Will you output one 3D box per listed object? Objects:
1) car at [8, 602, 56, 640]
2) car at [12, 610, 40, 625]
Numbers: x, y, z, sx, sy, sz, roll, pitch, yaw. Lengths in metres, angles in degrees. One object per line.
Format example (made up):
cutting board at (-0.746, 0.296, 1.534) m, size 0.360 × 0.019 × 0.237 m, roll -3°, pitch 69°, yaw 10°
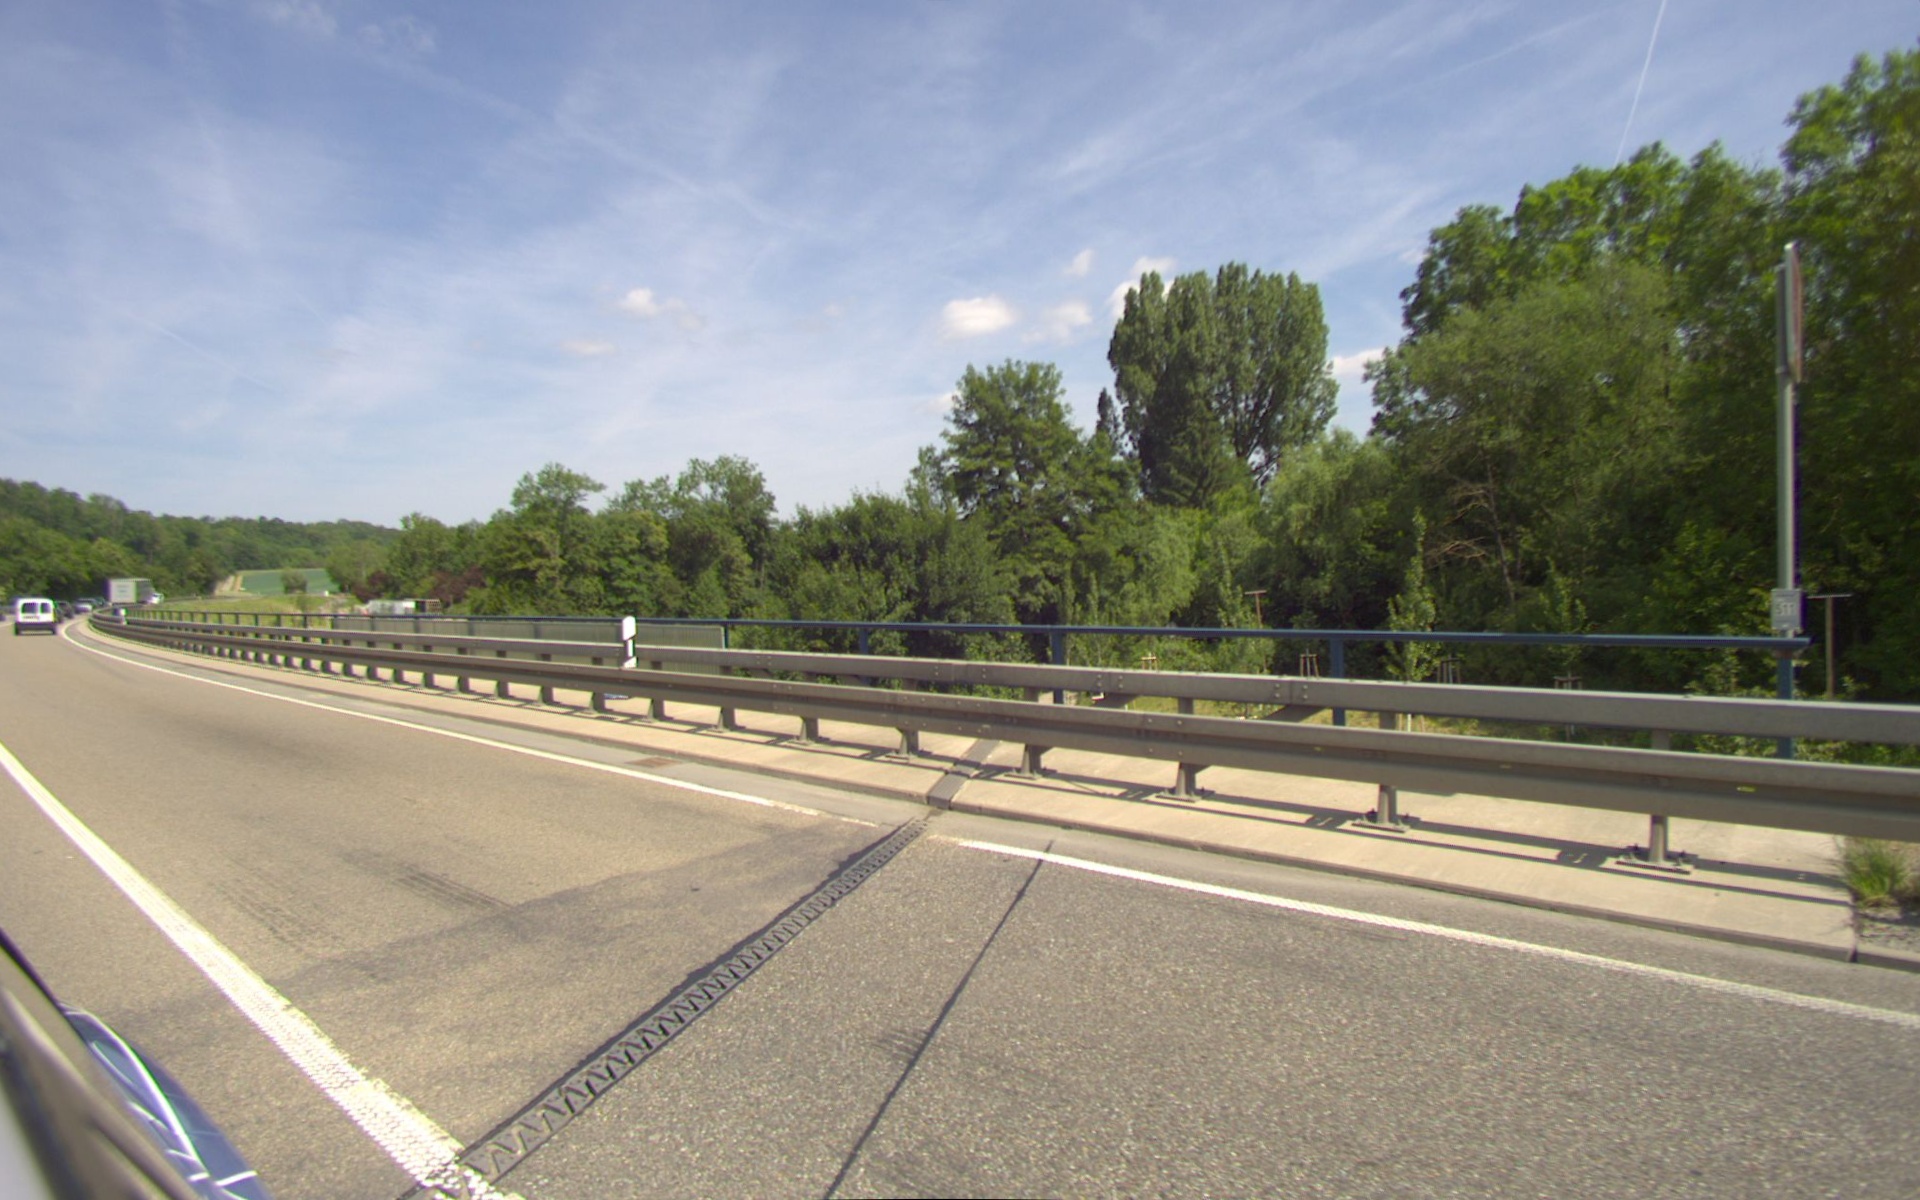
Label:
car at (-46.739, 1.031, 50.996) m, size 1.718 × 1.788 × 4.040 m, roll 0°, pitch 0°, yaw -43°
car at (-96.004, 1.782, 104.062) m, size 1.716 × 1.465 × 4.044 m, roll 0°, pitch 0°, yaw -38°
